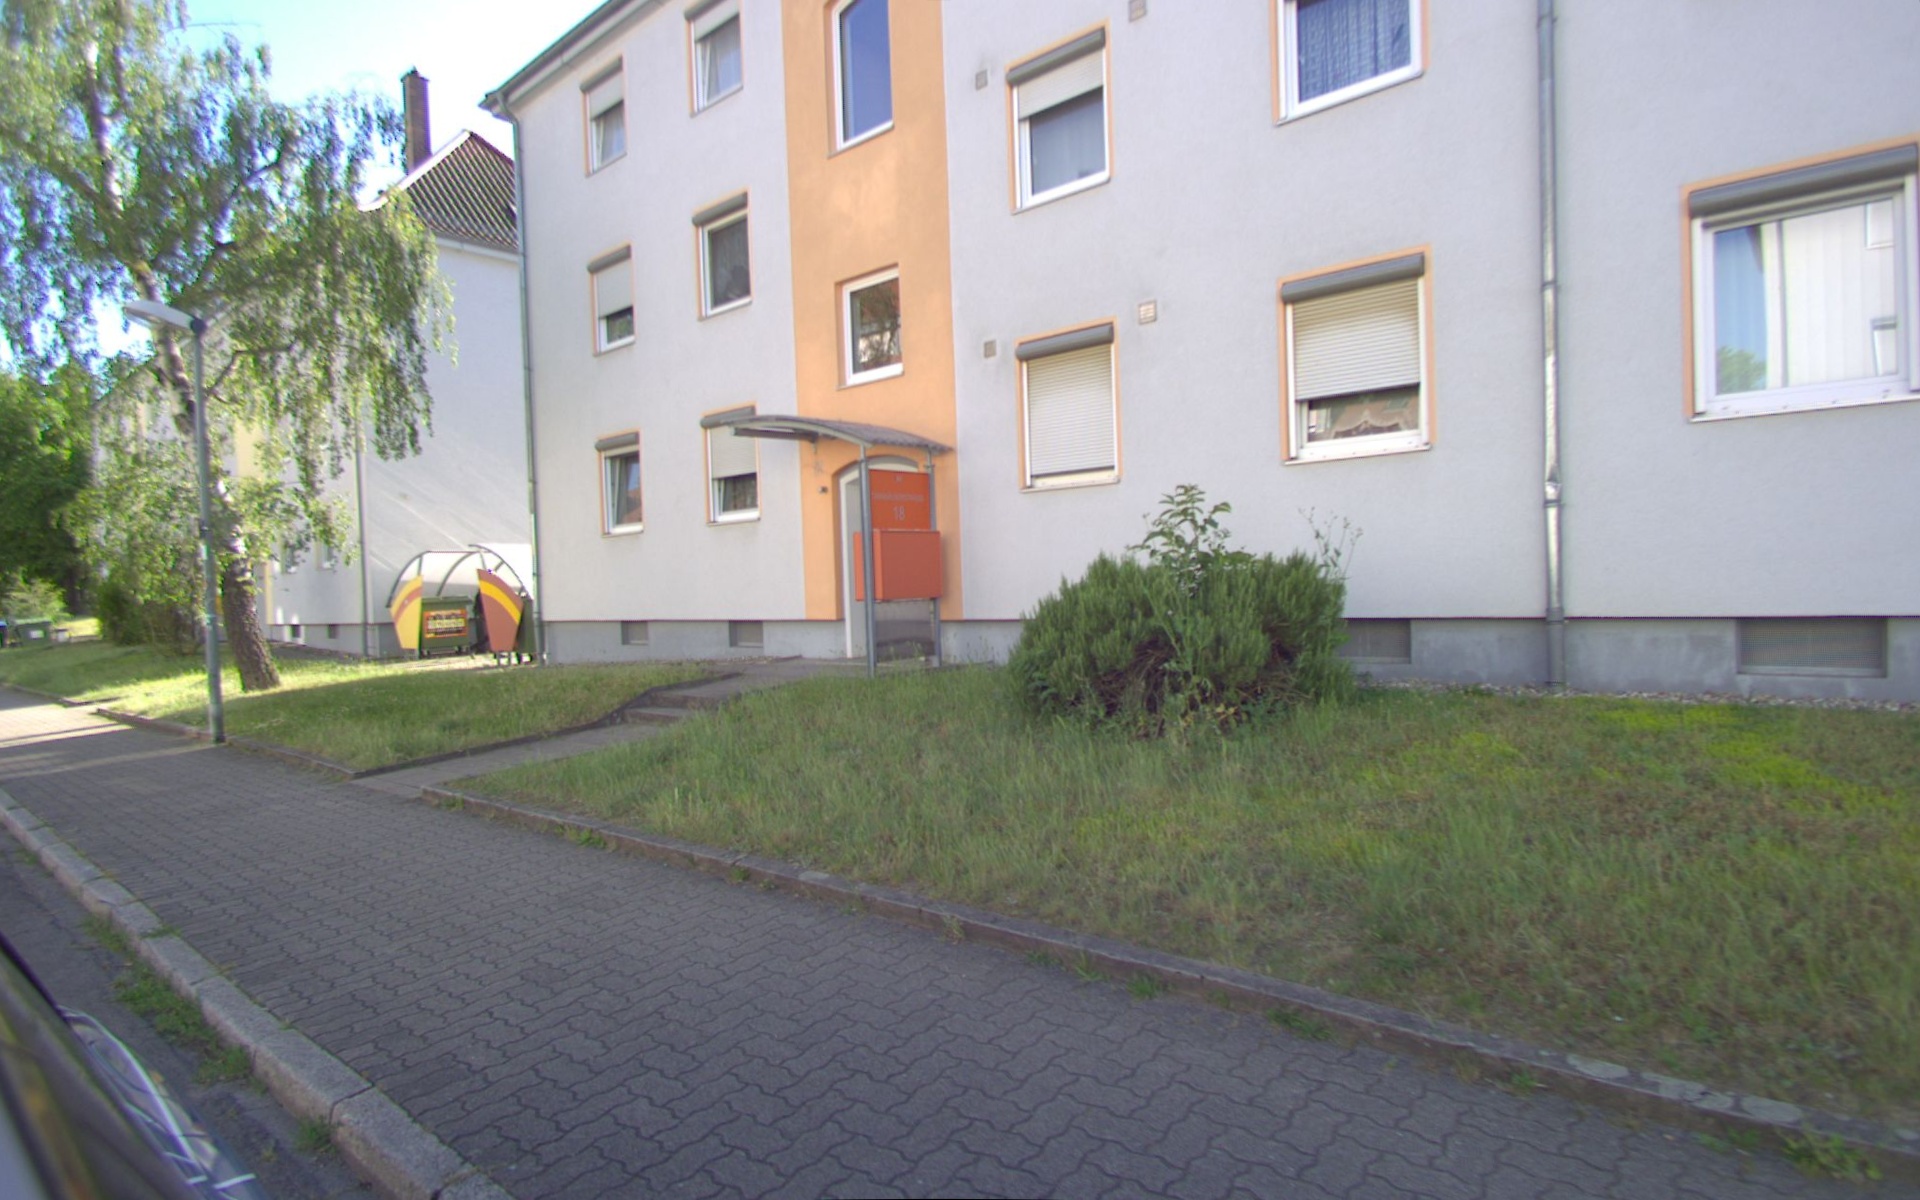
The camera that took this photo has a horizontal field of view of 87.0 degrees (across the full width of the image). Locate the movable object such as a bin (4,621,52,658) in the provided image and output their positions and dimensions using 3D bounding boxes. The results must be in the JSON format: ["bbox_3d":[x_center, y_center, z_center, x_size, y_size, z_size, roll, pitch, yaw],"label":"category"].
[{"bbox_3d":[-41.868,1.761,45.468,1.072,1.463,1.347,-2,5,41],"label":"movable object such as a bin"}]

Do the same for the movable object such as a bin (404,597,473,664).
[{"bbox_3d":[-11.602,0.667,22.521,0.812,1.416,1.073,-2,1,41],"label":"movable object such as a bin"}]

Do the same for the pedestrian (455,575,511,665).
[{"bbox_3d":[-9.987,0.403,21.183,0.718,1.837,0.797,-2,0,41],"label":"pedestrian"}]

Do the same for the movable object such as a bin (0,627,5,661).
[{"bbox_3d":[-42.854,2.012,44.262,1.082,1.470,1.342,-2,5,41],"label":"movable object such as a bin"}]
